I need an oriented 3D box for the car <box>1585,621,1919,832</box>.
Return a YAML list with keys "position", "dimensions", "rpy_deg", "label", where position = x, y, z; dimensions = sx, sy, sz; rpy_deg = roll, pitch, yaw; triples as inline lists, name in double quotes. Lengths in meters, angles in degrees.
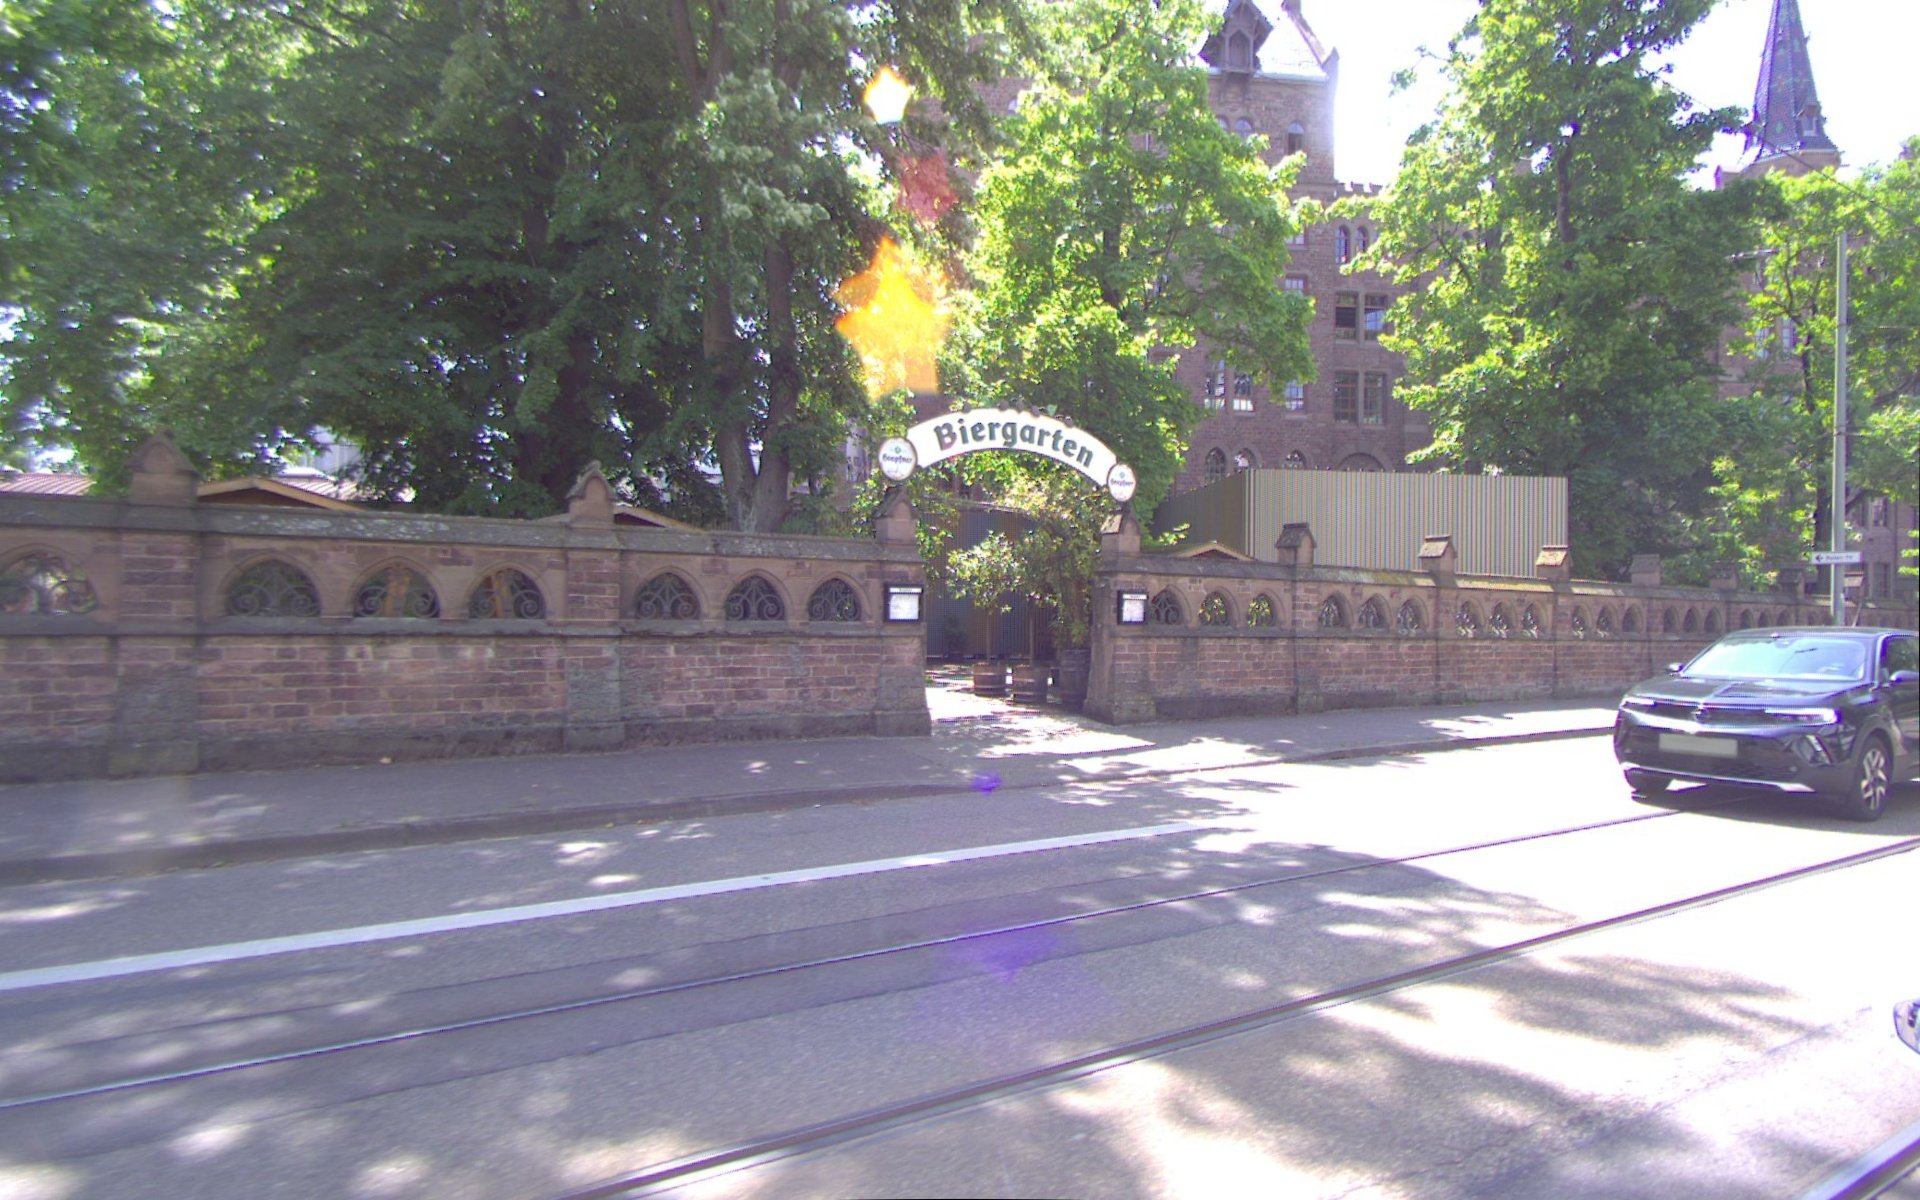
- position: [7.687, 0.981, 9.150]
  dimensions: [3.953, 1.536, 1.762]
  rpy_deg: [1, -1, -30]
  label: "car"
